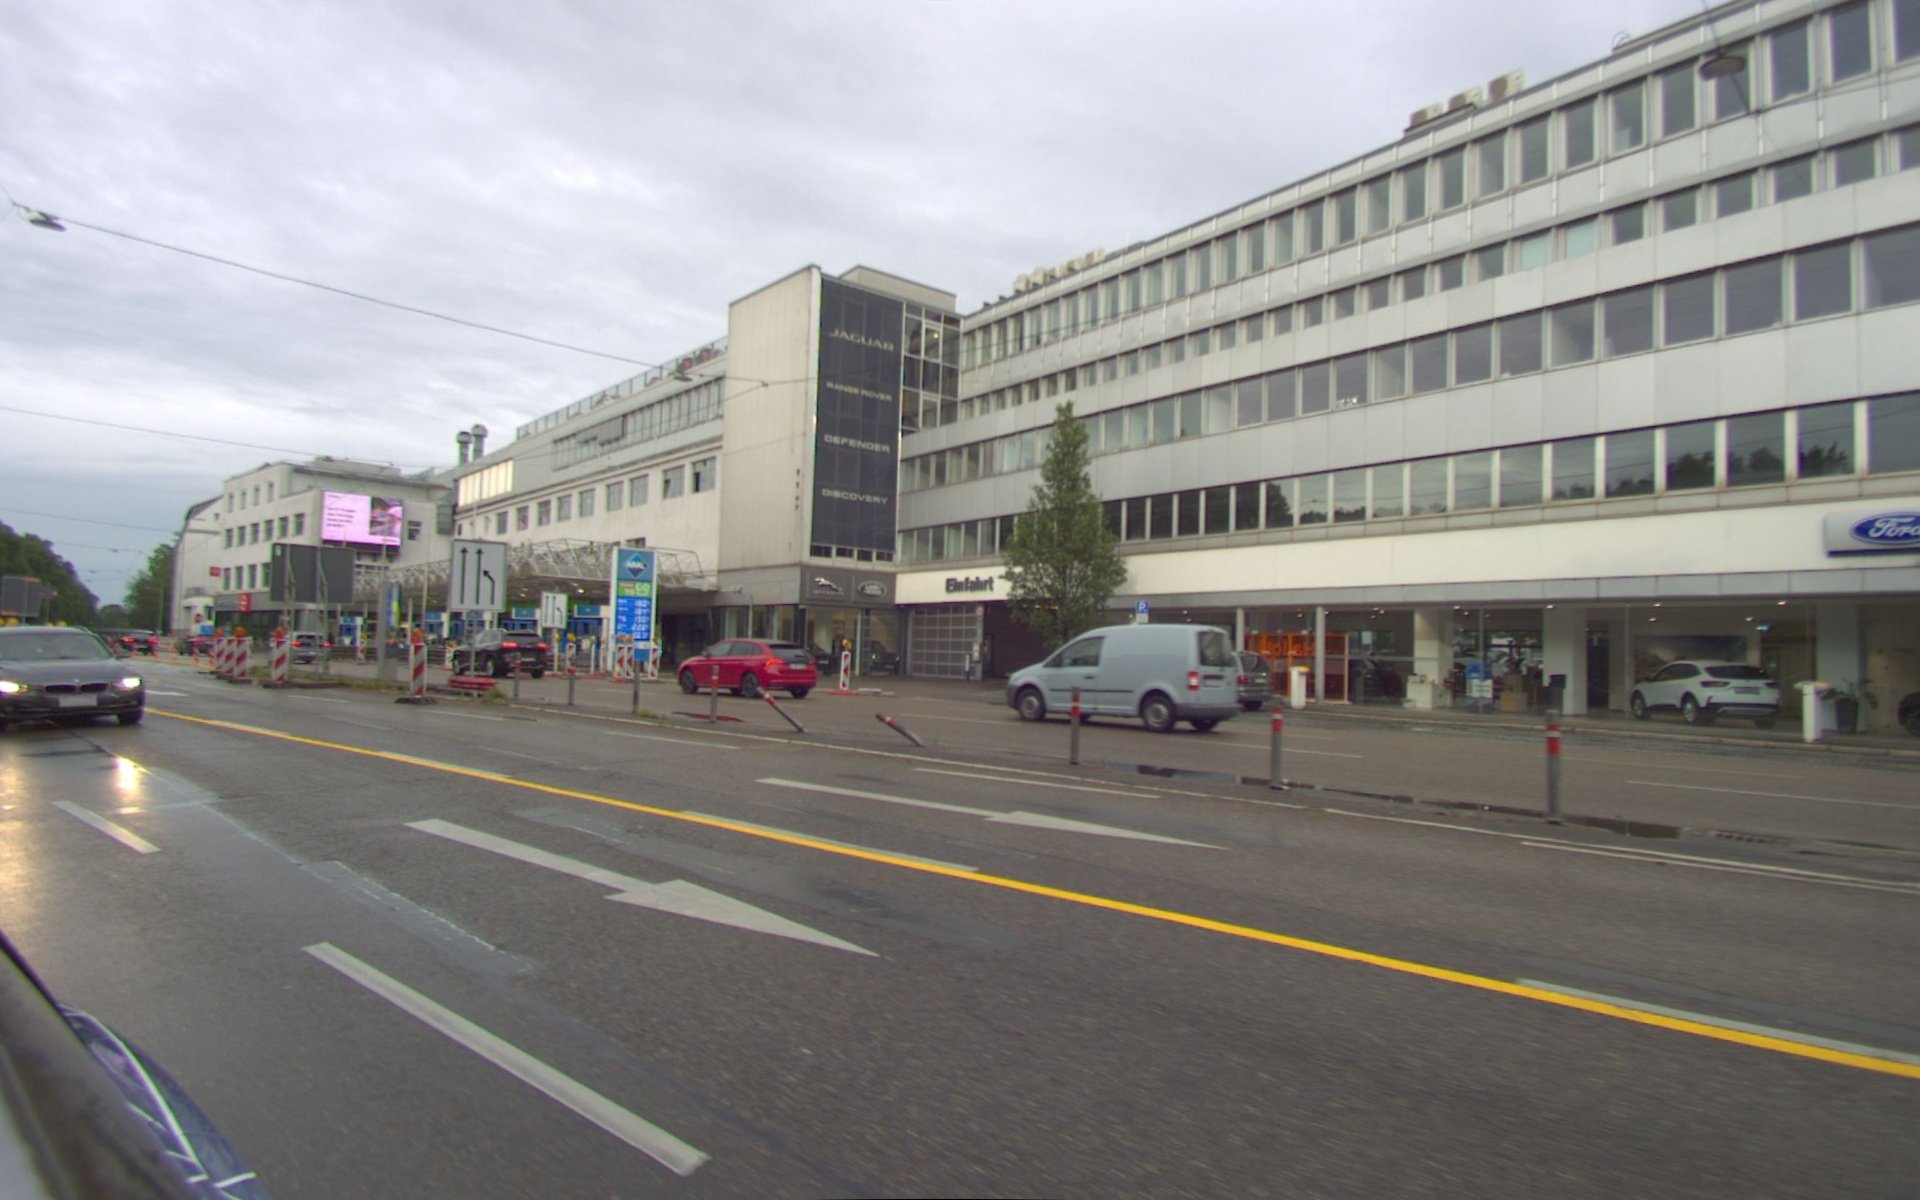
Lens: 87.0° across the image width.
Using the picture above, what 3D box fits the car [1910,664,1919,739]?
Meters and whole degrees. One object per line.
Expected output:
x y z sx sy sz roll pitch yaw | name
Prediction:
22.201 2.153 20.448 1.966 1.586 4.010 5 -5 -33 | car

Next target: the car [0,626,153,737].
-13.913 1.148 15.273 4.172 1.461 1.742 -1 -4 38 | car

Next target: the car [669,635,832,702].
-5.403 1.721 25.810 4.372 1.514 1.810 -1 -5 42 | car

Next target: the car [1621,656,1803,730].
19.259 2.366 26.191 1.832 1.664 4.375 2 -4 7 | car

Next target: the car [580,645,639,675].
-19.311 3.294 55.734 1.632 1.546 3.760 6 -5 -42 | car

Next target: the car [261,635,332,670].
-32.126 2.525 48.942 4.300 1.570 1.788 -1 -4 42 | car

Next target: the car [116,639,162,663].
-50.259 3.106 61.923 1.669 1.364 4.117 6 -6 -45 | car

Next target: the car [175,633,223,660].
-48.831 2.961 64.915 4.001 1.525 1.732 -1 -5 44 | car

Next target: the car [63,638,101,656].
-73.179 3.920 84.346 4.287 1.415 1.717 -1 -4 41 | car

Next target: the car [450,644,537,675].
-28.808 3.711 62.654 4.409 1.692 2.017 3 -4 -7 | car

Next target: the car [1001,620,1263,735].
2.954 1.316 17.951 4.300 1.799 1.715 -1 -5 42 | car

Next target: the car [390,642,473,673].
-34.903 3.796 66.916 4.376 1.784 1.970 3 -4 -7 | car

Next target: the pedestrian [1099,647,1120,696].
5.412 2.599 36.711 0.699 1.734 0.667 2 -4 8 | pedestrian

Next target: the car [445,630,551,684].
-16.274 1.968 35.556 4.606 1.751 1.824 -1 -5 45 | car
